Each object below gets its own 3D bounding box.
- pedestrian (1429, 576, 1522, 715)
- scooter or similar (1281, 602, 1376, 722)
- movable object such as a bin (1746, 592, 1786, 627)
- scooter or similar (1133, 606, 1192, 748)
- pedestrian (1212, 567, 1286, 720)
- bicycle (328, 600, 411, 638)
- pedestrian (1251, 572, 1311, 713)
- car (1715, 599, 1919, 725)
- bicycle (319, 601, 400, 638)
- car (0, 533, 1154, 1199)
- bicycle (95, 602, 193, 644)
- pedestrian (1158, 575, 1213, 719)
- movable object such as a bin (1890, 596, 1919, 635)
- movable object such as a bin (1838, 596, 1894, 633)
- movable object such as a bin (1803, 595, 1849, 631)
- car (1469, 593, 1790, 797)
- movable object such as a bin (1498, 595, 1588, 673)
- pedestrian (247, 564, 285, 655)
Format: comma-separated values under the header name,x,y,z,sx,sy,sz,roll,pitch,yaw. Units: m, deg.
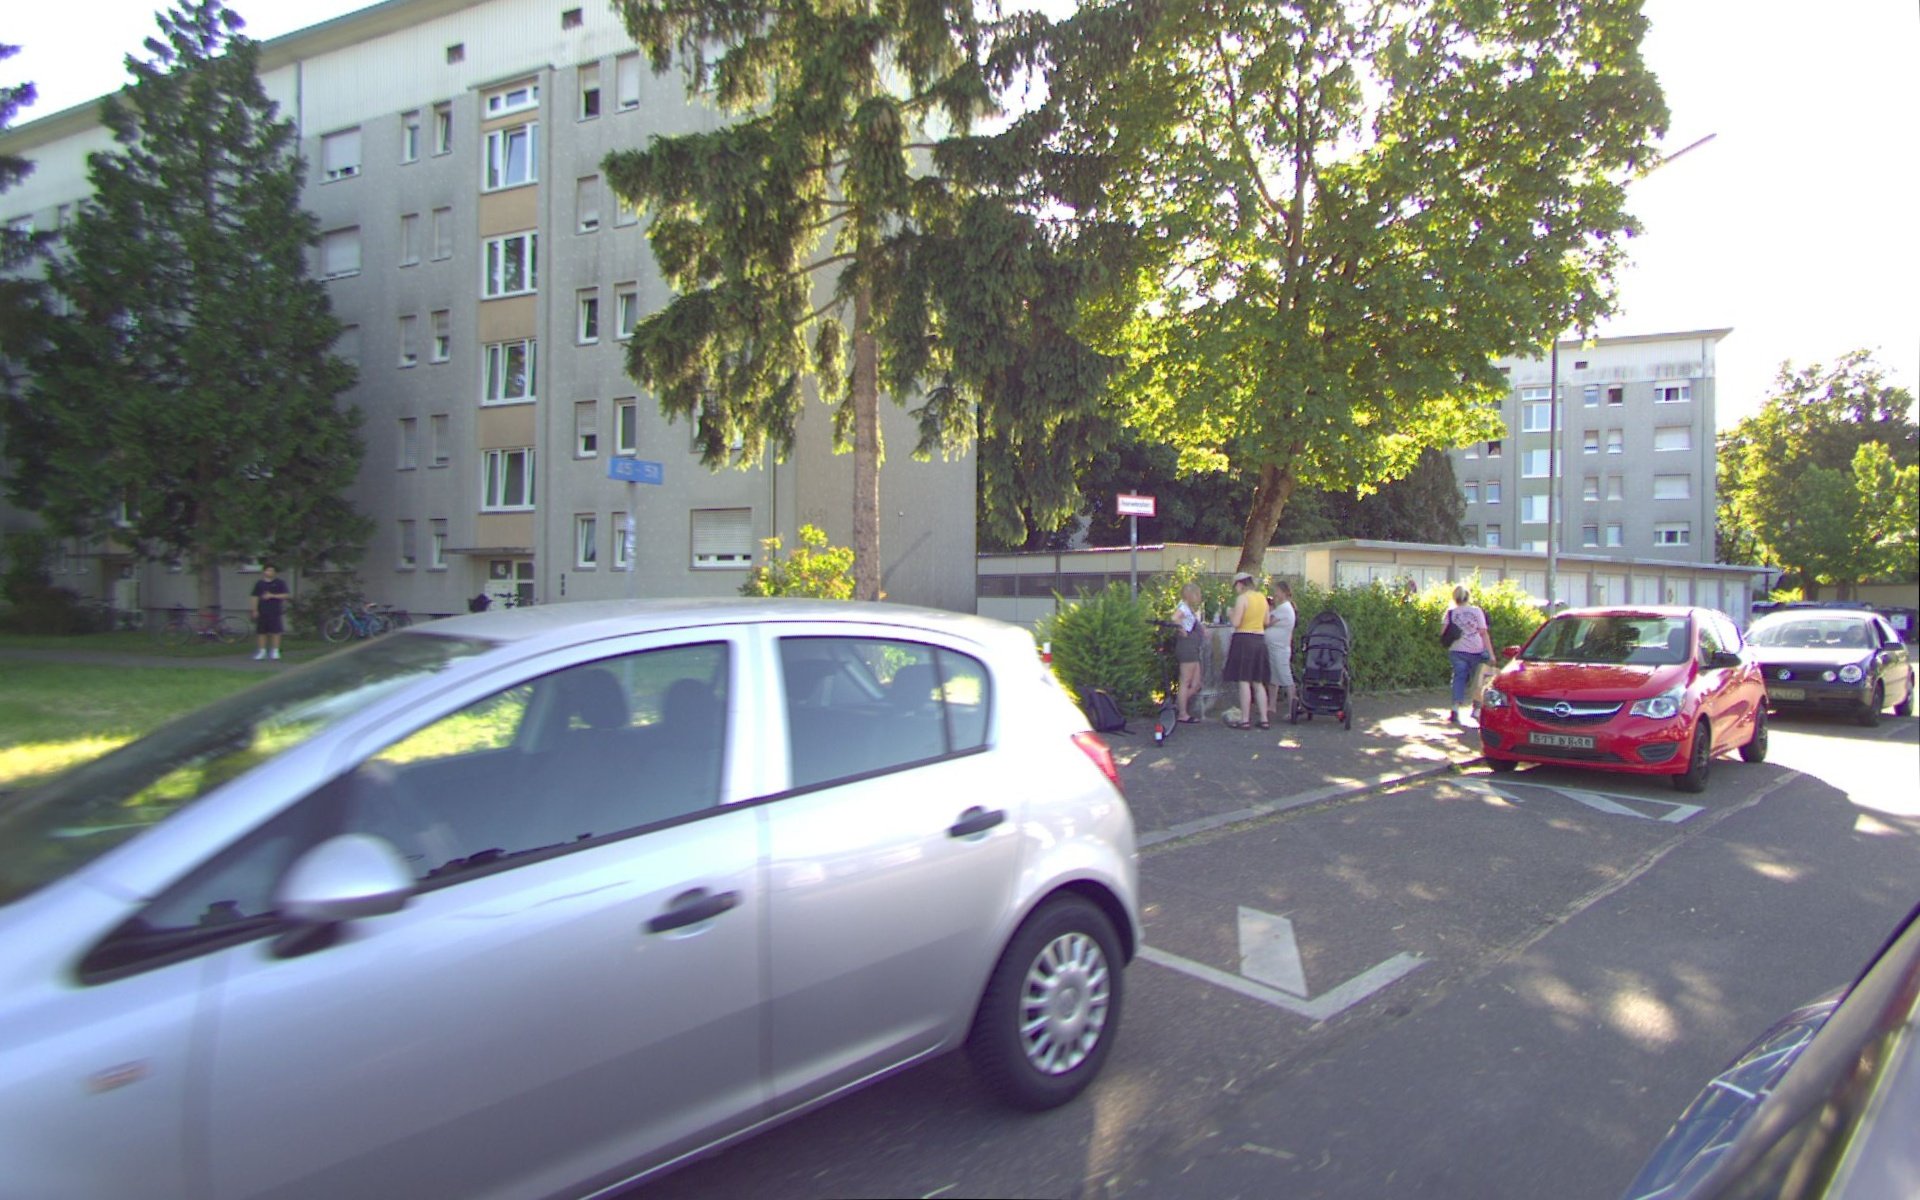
name,x,y,z,sx,sy,sz,roll,pitch,yaw
pedestrian,6.146,0.528,12.074,0.560,1.585,0.789,0,-2,-40
scooter or similar,4.104,0.661,11.264,0.889,1.242,0.624,-1,1,-40
movable object such as a bin,33.642,0.392,42.256,0.817,1.434,1.080,-1,1,-30
scooter or similar,1.983,0.704,9.839,0.395,1.242,1.246,1,1,19
pedestrian,3.097,0.445,10.858,0.585,1.584,0.483,-1,2,-30
bicycle,-14.112,0.448,24.214,1.651,0.857,0.512,-1,-1,-41
pedestrian,3.712,0.470,11.704,0.461,1.584,0.486,-1,2,-44
car,11.833,0.727,13.759,3.812,1.420,1.651,-1,1,-39
bicycle,-14.645,0.469,24.701,1.651,0.857,0.512,-1,-1,-41
car,-1.349,0.685,2.567,3.724,1.562,1.733,-1,0,-42
bicycle,-17.693,0.494,21.970,1.651,0.857,0.512,-1,-1,-41
pedestrian,2.450,0.493,11.007,0.492,1.521,0.362,-1,2,-43
movable object such as a bin,34.614,0.541,36.490,1.031,1.364,1.256,-1,1,-24
movable object such as a bin,34.093,0.537,38.079,1.031,1.364,1.256,-1,1,-24
movable object such as a bin,33.653,0.483,39.340,0.847,1.364,1.081,-1,1,-24
car,6.210,0.688,9.228,3.724,1.465,1.577,-1,0,-42
movable object such as a bin,11.135,0.617,19.343,0.898,1.421,1.240,-1,0,-38
pedestrian,-13.041,0.176,19.030,0.525,1.684,0.491,-1,-2,-30
